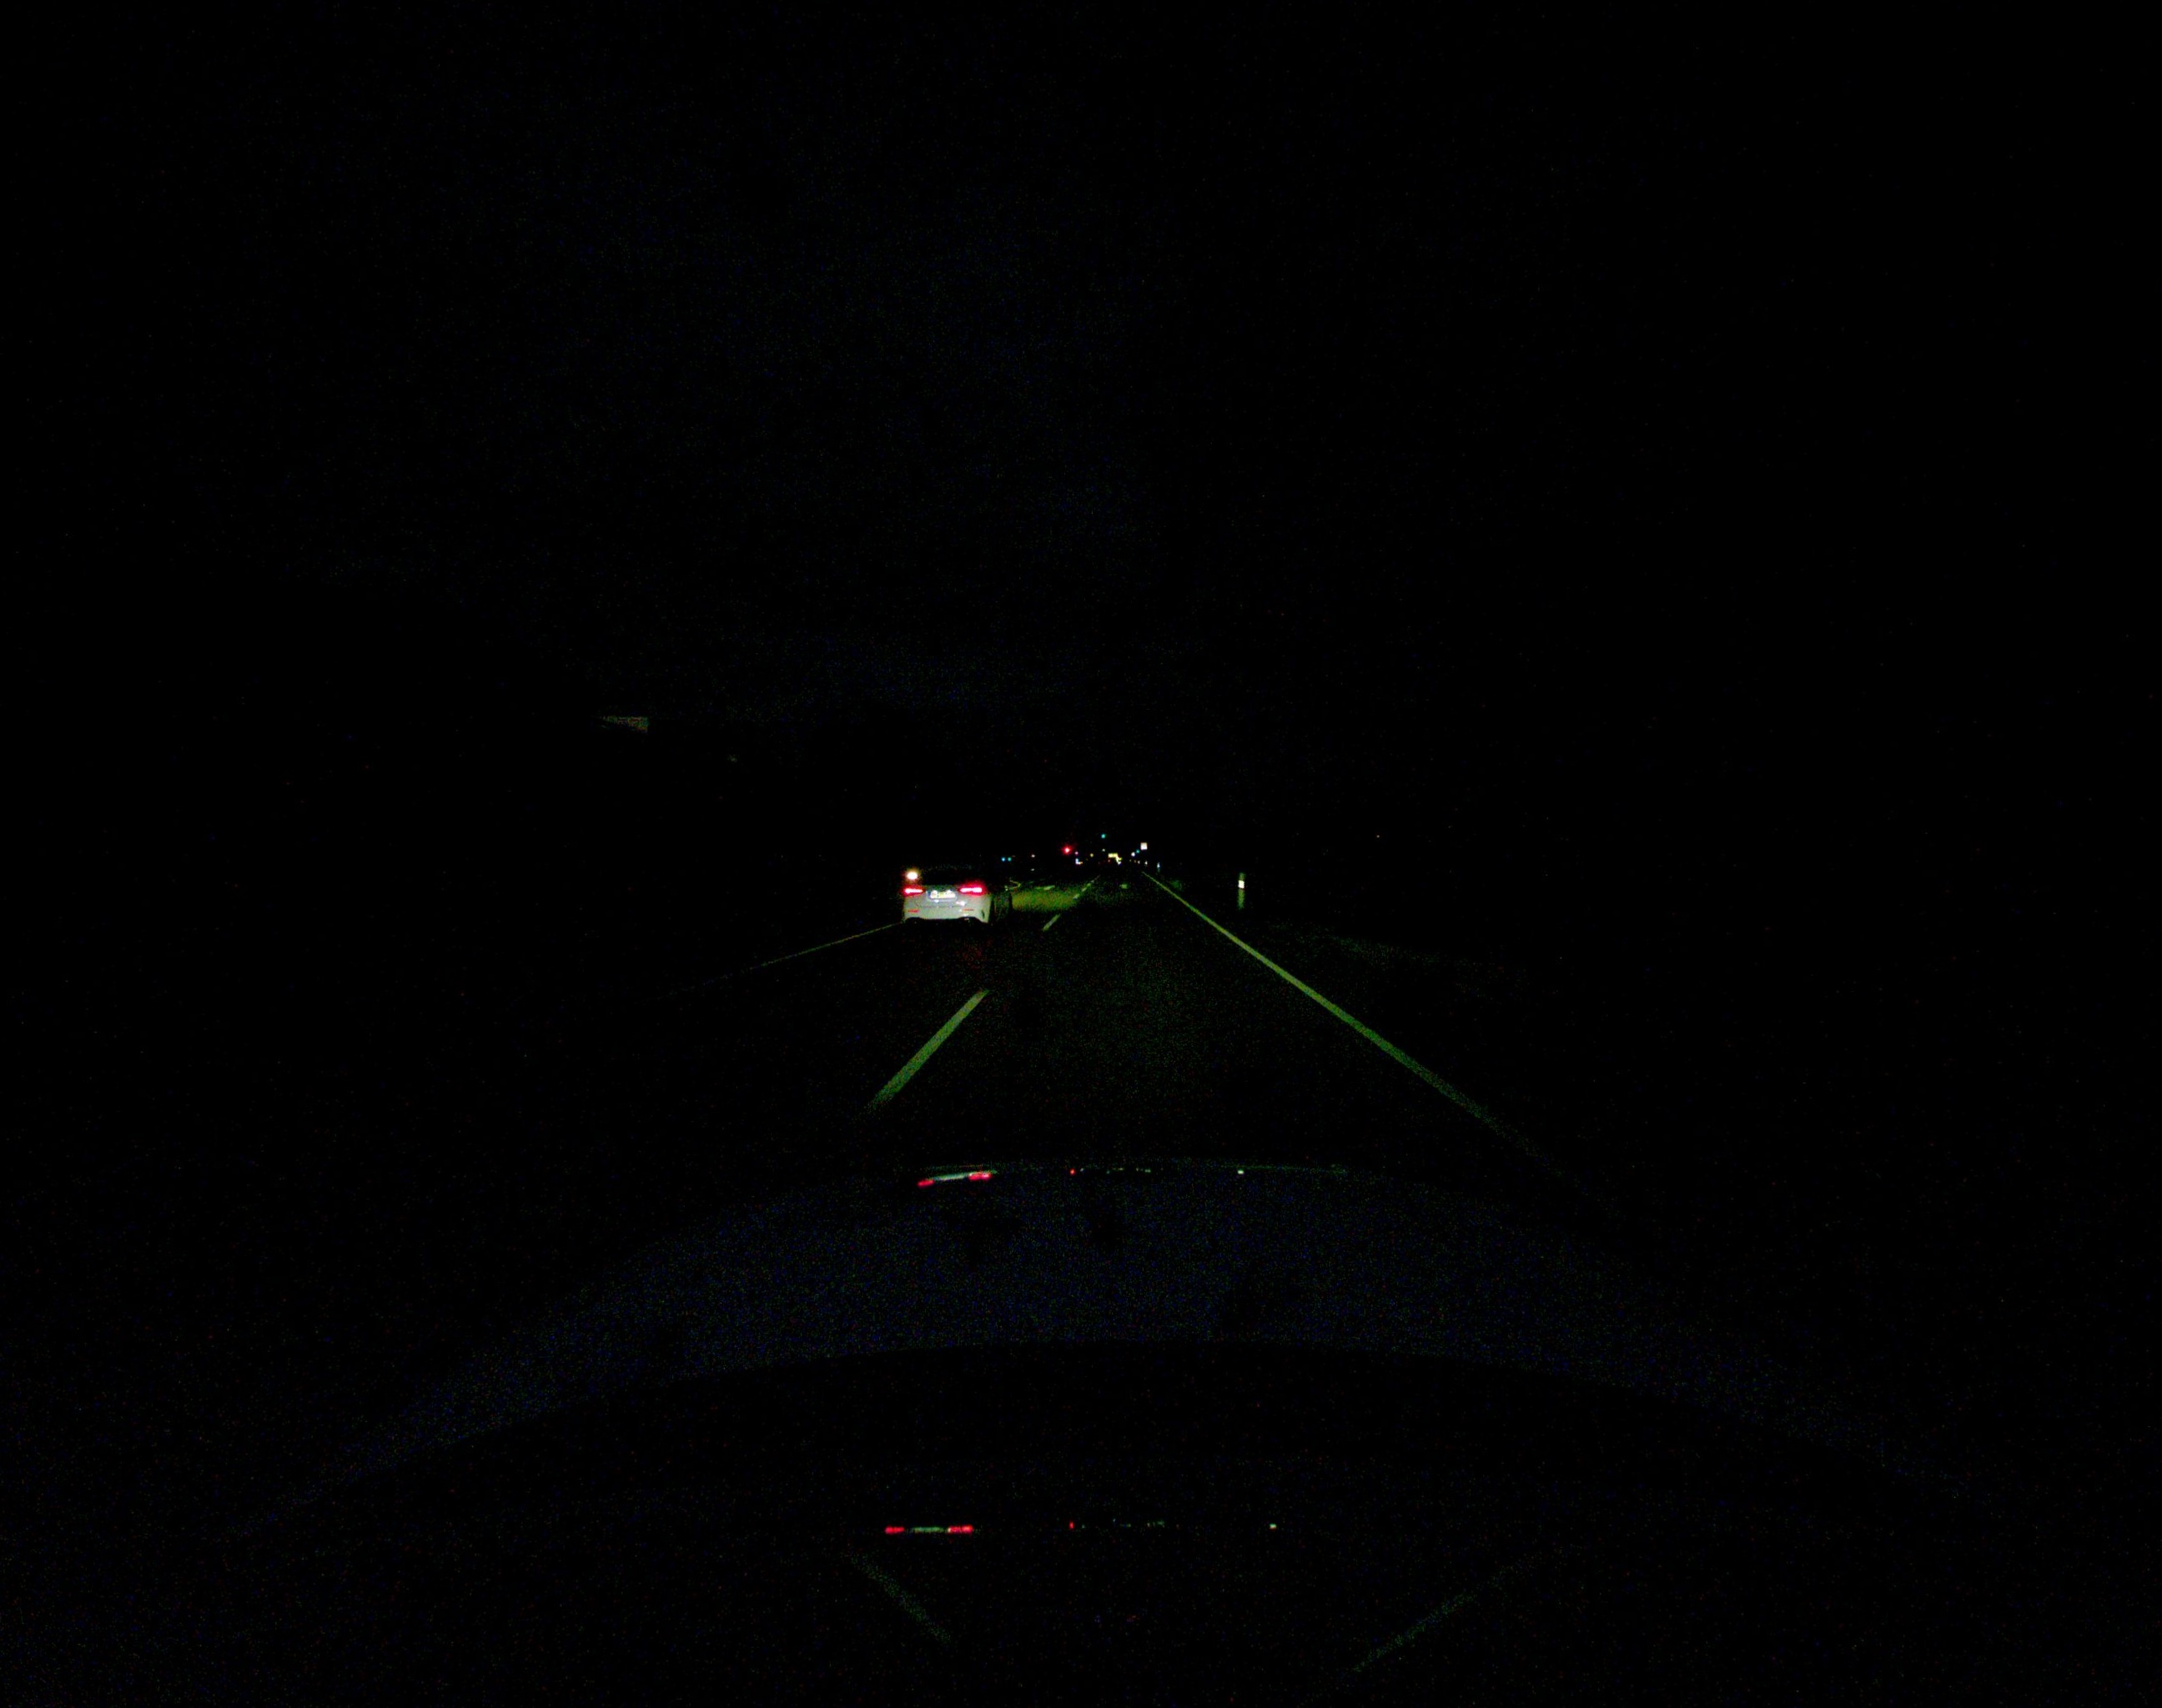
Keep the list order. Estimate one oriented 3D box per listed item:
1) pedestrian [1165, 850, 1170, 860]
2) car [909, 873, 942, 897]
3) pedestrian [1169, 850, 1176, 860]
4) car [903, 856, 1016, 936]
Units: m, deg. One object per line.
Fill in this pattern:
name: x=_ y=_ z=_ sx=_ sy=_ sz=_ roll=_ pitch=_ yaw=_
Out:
pedestrian: x=16.235 y=0.185 z=152.901 sx=0.918 sy=1.793 sz=1.107 roll=-1 pitch=0 yaw=2
car: x=-12.499 y=2.452 z=65.707 sx=1.662 sy=1.758 sz=4.002 roll=-1 pitch=0 yaw=2
pedestrian: x=17.197 y=0.184 z=152.780 sx=1.086 sy=1.723 sz=1.261 roll=-1 pitch=-1 yaw=2
car: x=-2.495 y=0.807 z=17.816 sx=1.636 sy=1.490 sz=4.581 roll=-1 pitch=0 yaw=2
